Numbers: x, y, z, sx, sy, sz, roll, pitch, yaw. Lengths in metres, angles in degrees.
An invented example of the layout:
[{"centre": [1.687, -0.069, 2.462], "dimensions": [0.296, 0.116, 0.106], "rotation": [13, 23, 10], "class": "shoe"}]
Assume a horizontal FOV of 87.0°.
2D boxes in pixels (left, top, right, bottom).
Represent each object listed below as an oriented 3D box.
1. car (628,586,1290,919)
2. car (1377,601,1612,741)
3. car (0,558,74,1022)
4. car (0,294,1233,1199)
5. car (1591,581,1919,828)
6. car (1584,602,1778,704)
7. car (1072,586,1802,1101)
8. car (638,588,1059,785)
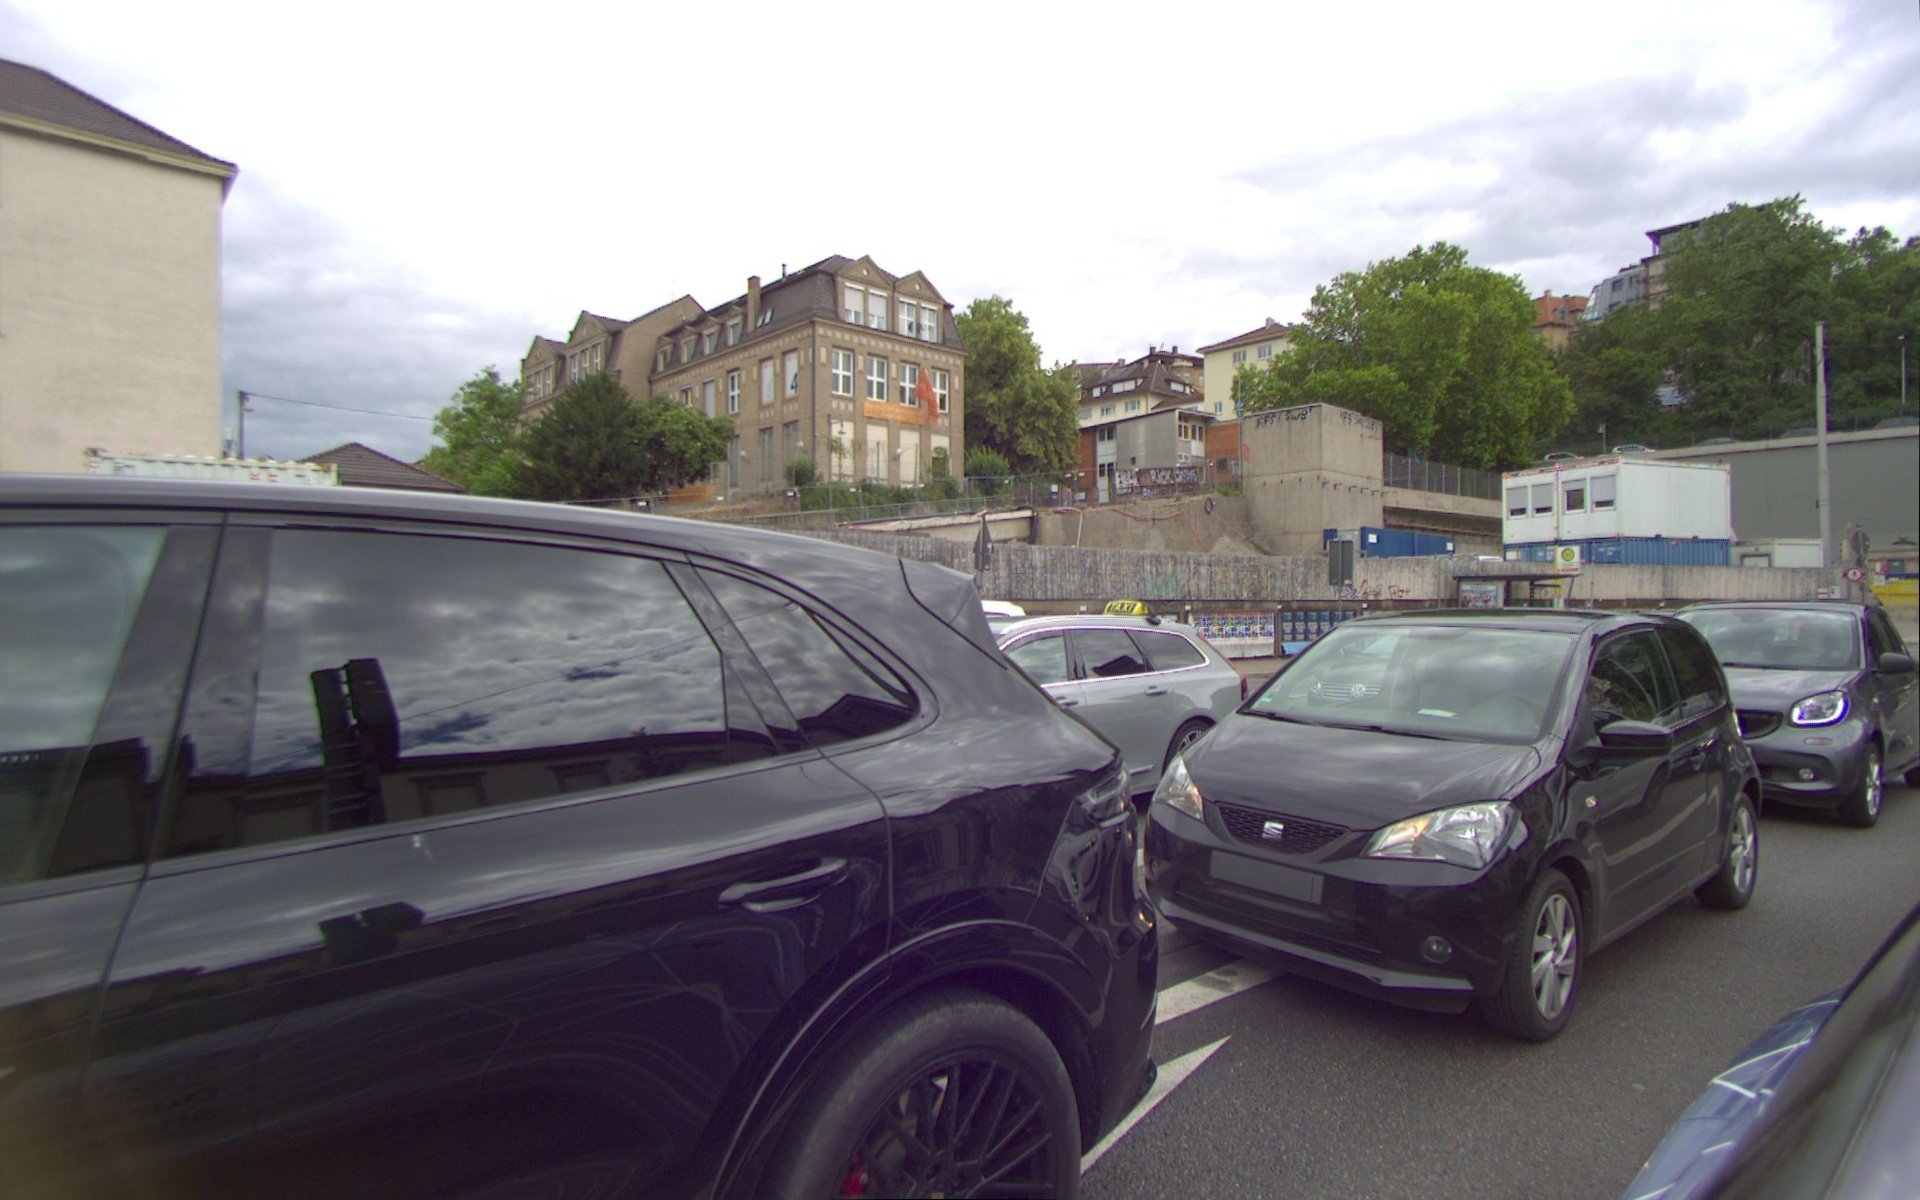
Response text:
[{"centre": [0.270, 0.731, 7.269], "dimensions": [4.725, 1.645, 1.827], "rotation": [-1, 0, -41], "class": "car"}, {"centre": [6.476, 0.749, 12.204], "dimensions": [2.667, 1.449, 1.664], "rotation": [-1, 0, -41], "class": "car"}, {"centre": [-5.303, 0.687, 3.046], "dimensions": [3.930, 1.645, 1.679], "rotation": [-1, 0, -41], "class": "car"}, {"centre": [-1.620, 0.566, 1.608], "dimensions": [4.406, 1.737, 1.827], "rotation": [-1, 0, -41], "class": "car"}, {"centre": [6.709, 0.662, 8.194], "dimensions": [3.511, 1.563, 1.720], "rotation": [0, 0, -40], "class": "car"}, {"centre": [11.506, 0.750, 16.064], "dimensions": [3.740, 1.383, 1.679], "rotation": [-1, 0, -41], "class": "car"}, {"centre": [2.437, 0.679, 4.799], "dimensions": [3.636, 1.476, 1.827], "rotation": [-1, 0, -41], "class": "car"}, {"centre": [-1.007, 0.708, 10.486], "dimensions": [4.136, 1.645, 1.679], "rotation": [-1, 0, -41], "class": "car"}]
